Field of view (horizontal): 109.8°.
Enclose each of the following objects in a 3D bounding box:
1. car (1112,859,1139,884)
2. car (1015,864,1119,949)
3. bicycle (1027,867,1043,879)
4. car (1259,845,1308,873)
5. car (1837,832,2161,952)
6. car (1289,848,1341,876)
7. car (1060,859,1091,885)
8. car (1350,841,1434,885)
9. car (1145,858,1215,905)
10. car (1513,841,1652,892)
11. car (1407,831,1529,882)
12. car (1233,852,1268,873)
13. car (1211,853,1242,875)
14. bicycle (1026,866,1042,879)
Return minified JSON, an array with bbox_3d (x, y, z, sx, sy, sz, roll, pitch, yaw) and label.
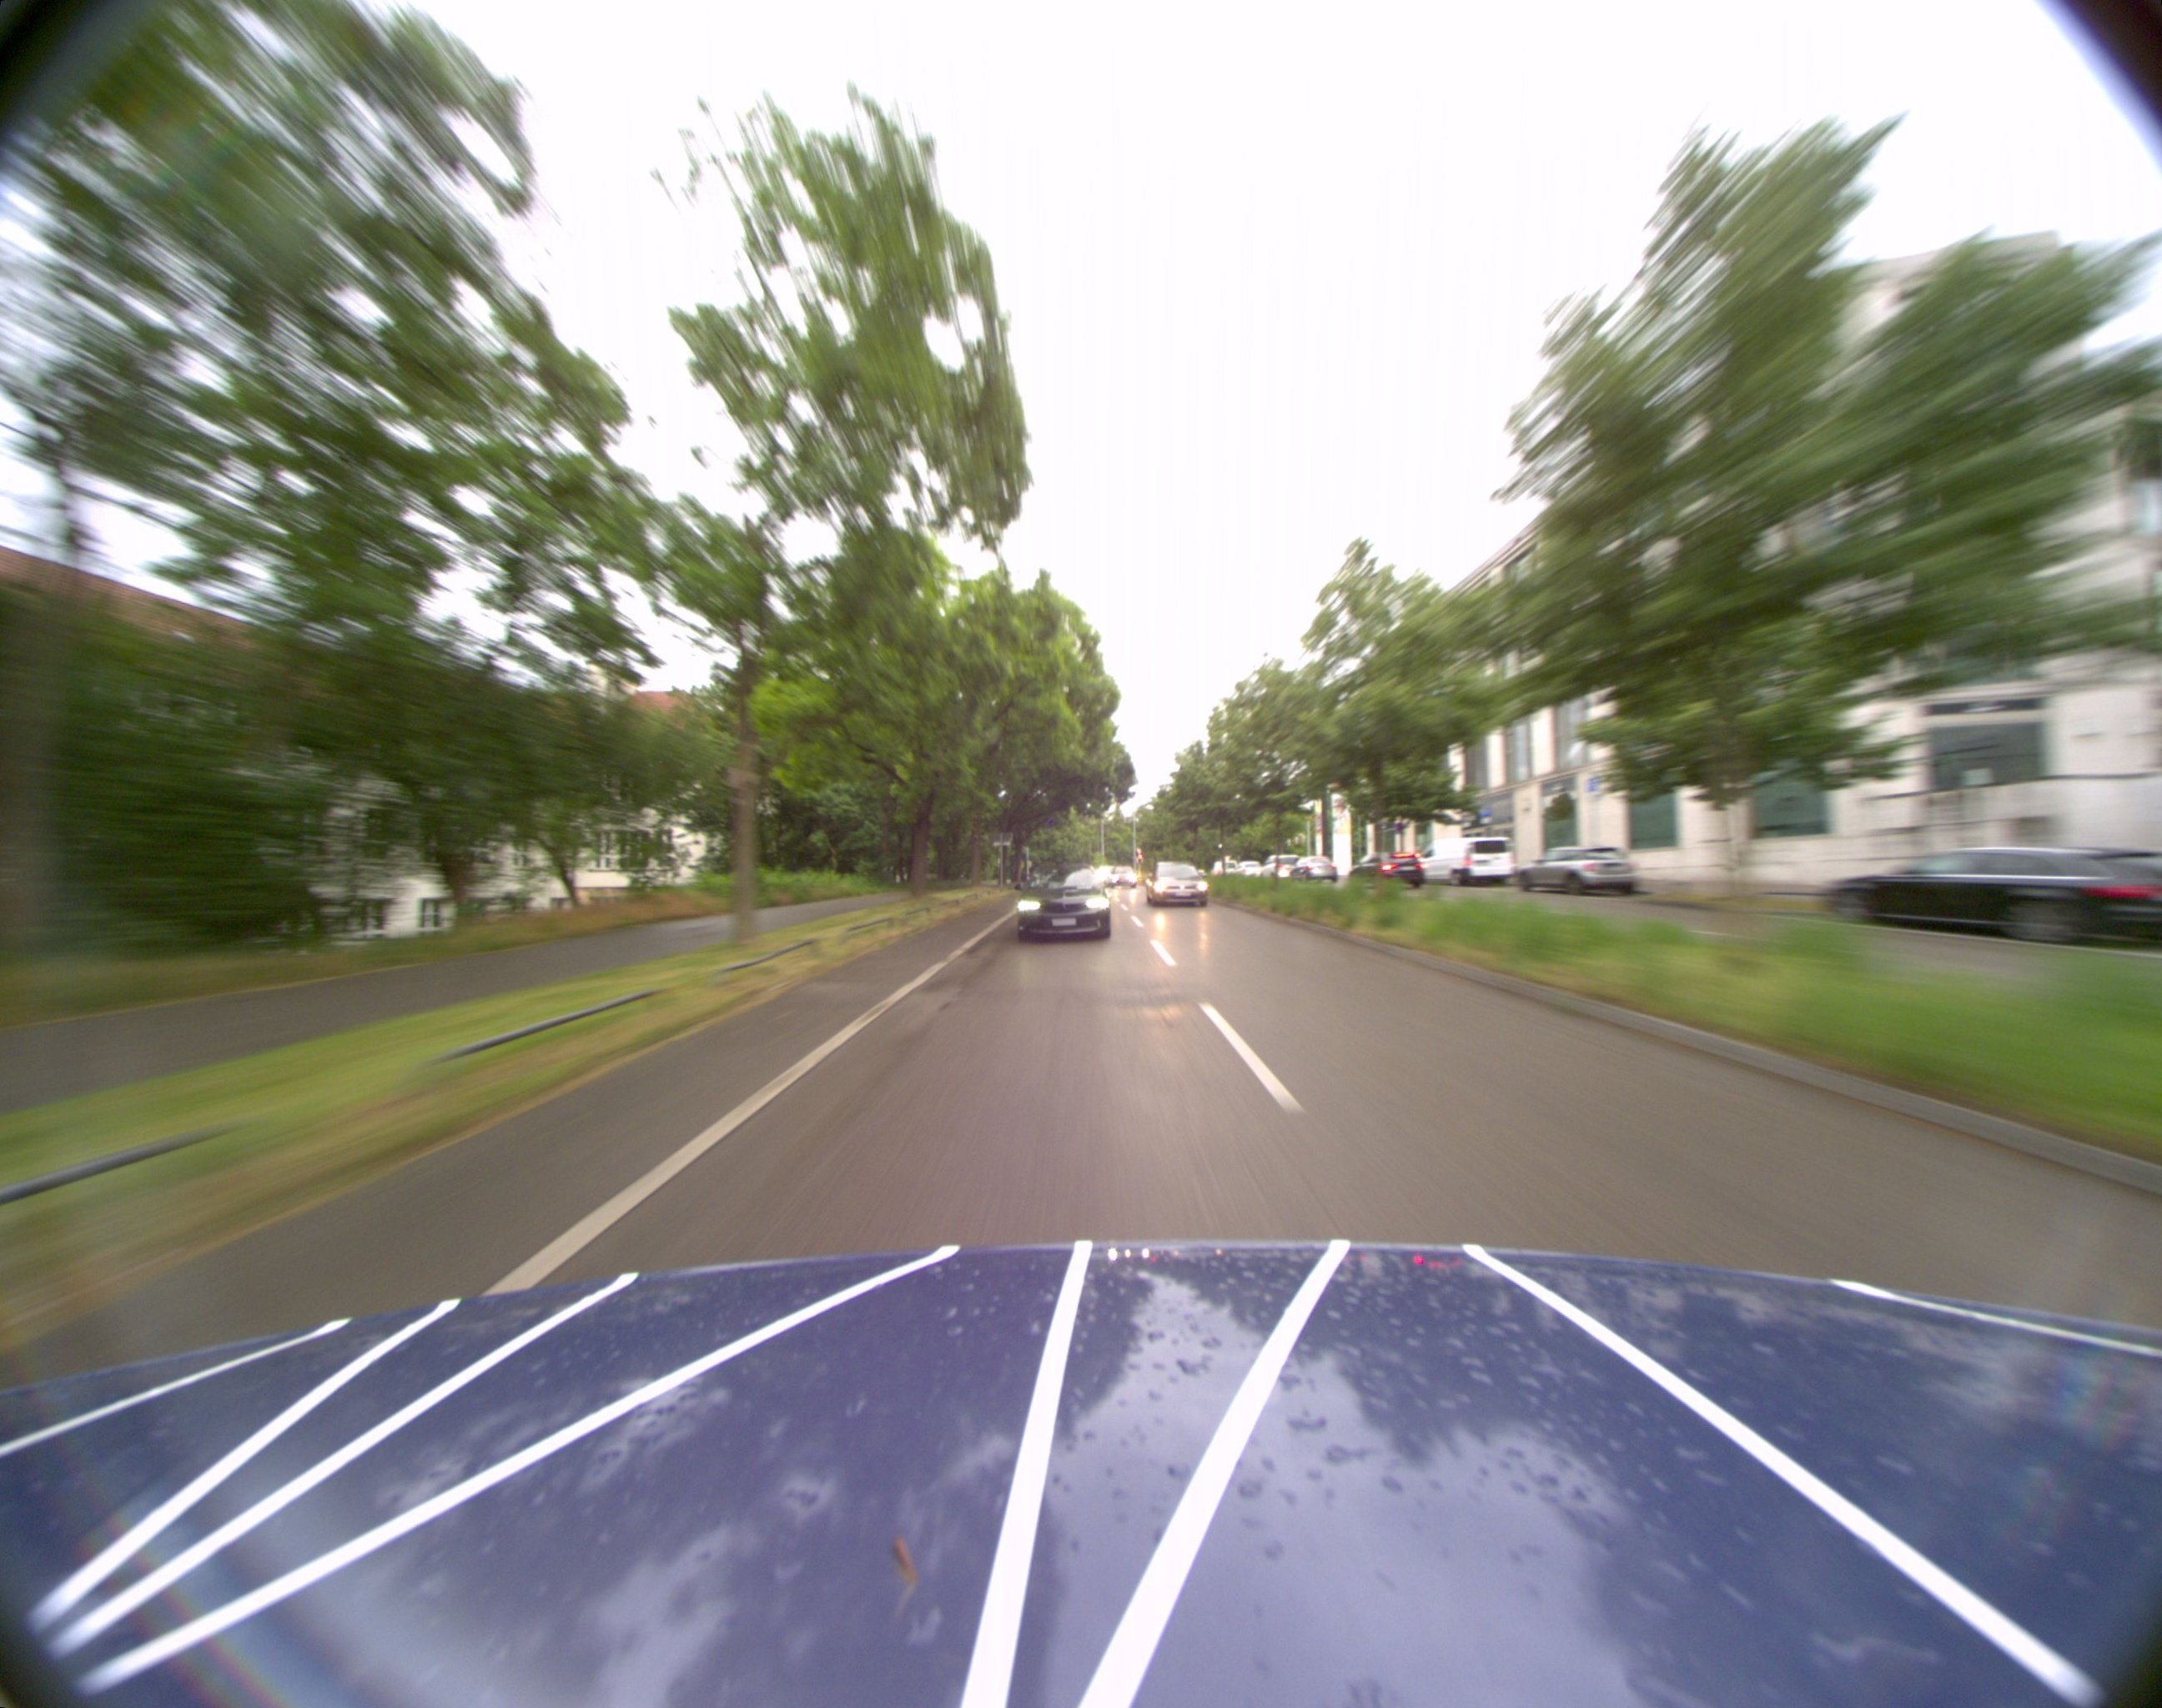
[{"bbox_3d":[3.023,1.191,51.122,1.669,1.520,3.660,-2,-2,4],"label":"car"},{"bbox_3d":[-0.298,0.986,16.037,1.804,1.422,4.520,-3,0,-1],"label":"car"},{"bbox_3d":[-4.277,1.745,70.480,1.490,1.124,0.556,2,-1,-6],"label":"bicycle"},{"bbox_3d":[12.554,0.311,47.417,1.834,1.591,4.674,-1,0,1],"label":"car"},{"bbox_3d":[14.971,0.466,12.210,1.699,1.572,4.016,-2,1,1],"label":"car"},{"bbox_3d":[12.616,0.469,41.191,1.645,1.402,3.997,0,-2,0],"label":"car"},{"bbox_3d":[-0.376,1.127,46.369,1.645,1.511,3.579,-2,-2,-4],"label":"car"},{"bbox_3d":[12.415,0.333,30.595,1.699,1.572,4.017,-2,0,0],"label":"car"},{"bbox_3d":[3.269,0.870,25.740,1.904,1.431,4.000,-1,0,1],"label":"car"},{"bbox_3d":[15.070,0.340,23.076,1.699,1.376,3.698,-2,0,-1],"label":"car"},{"bbox_3d":[15.318,0.101,30.491,2.127,1.805,5.260,-1,0,-1],"label":"car"},{"bbox_3d":[12.743,0.641,57.285,1.748,1.459,4.061,0,-1,1],"label":"car"},{"bbox_3d":[12.892,0.920,67.508,1.848,1.791,4.775,-2,-3,1],"label":"car"},{"bbox_3d":[-4.448,1.737,71.599,1.490,1.124,0.556,2,-1,-6],"label":"bicycle"}]
